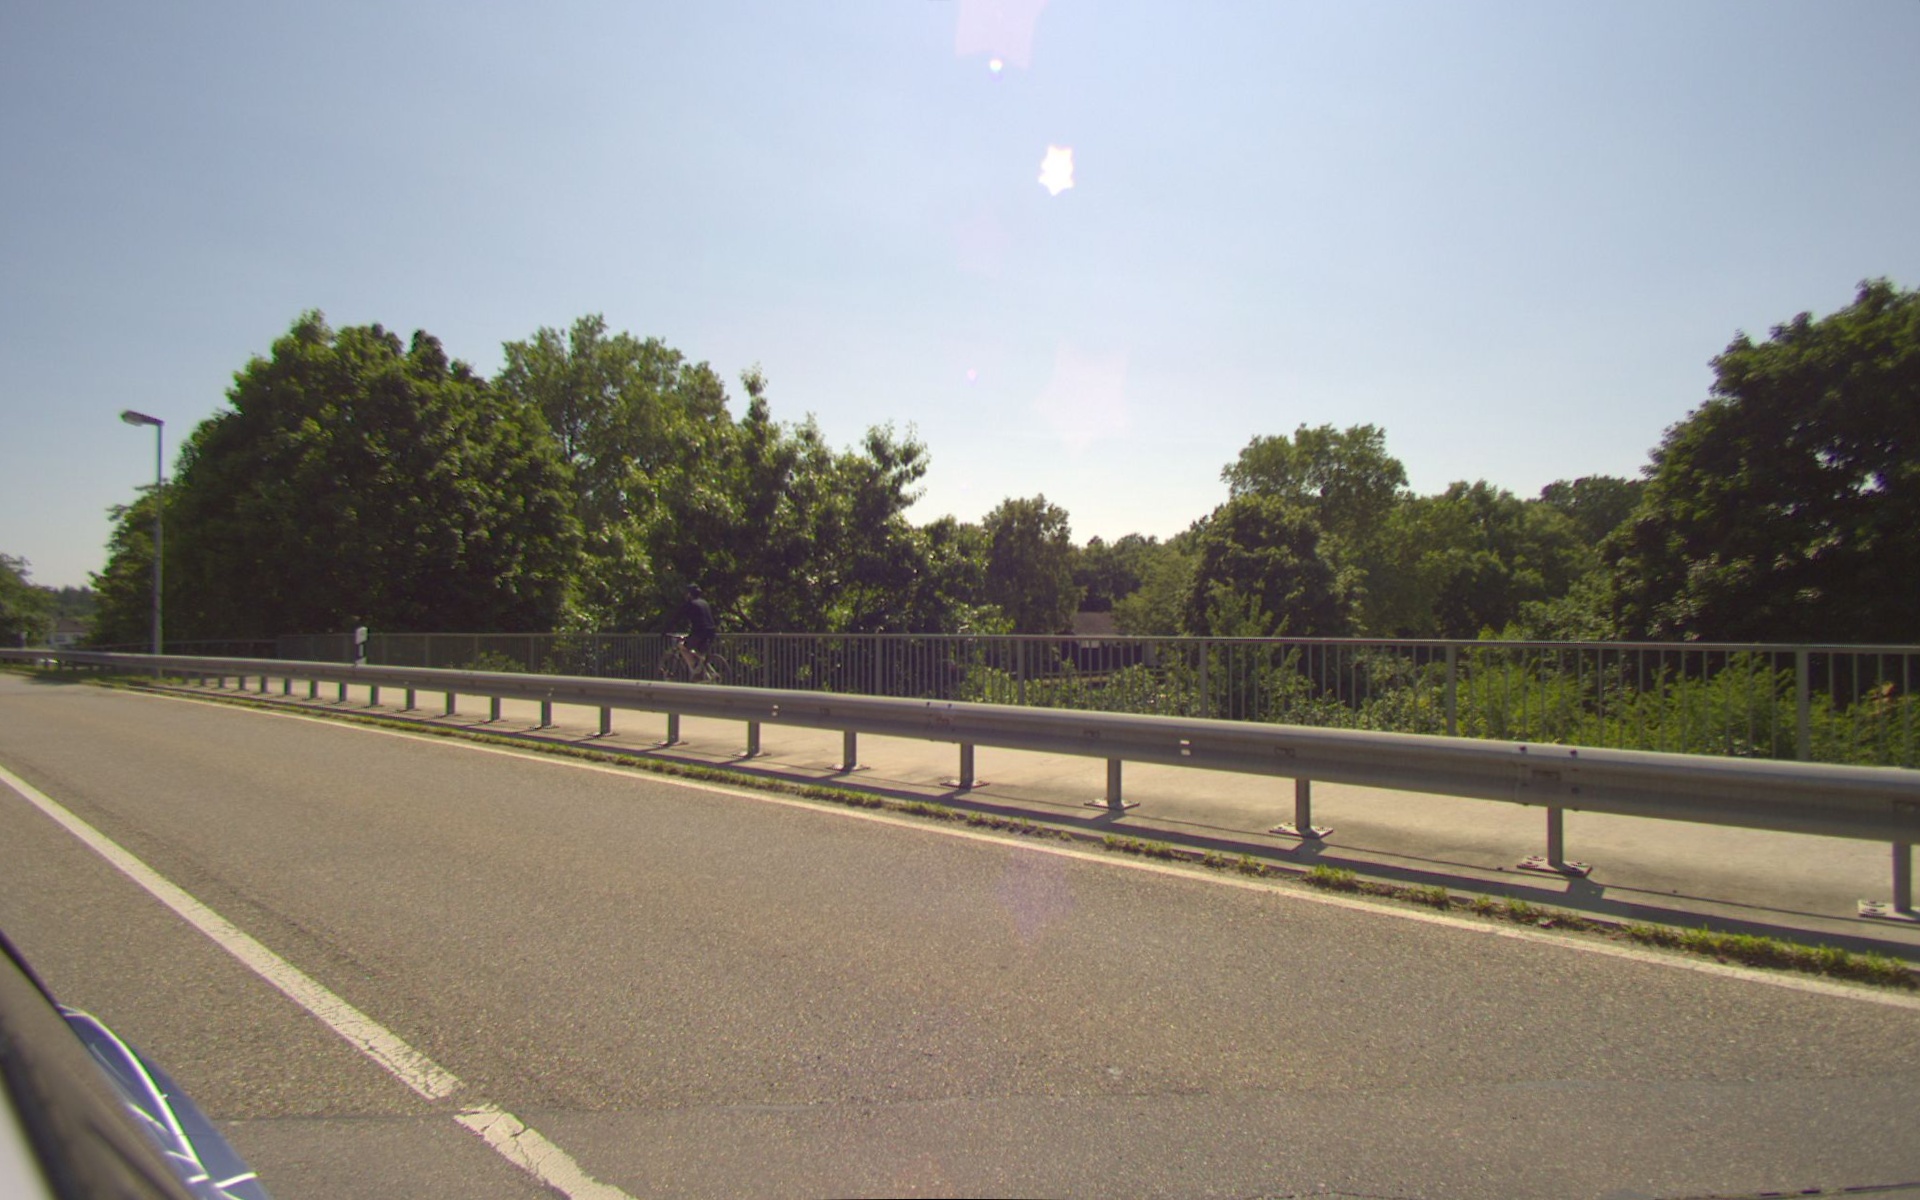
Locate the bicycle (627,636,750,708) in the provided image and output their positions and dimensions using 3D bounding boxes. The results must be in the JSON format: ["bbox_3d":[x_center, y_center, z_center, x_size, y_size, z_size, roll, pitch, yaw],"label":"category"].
[{"bbox_3d":[-4.128,1.060,15.300,2.116,1.009,0.671,-2,-2,38],"label":"bicycle"}]

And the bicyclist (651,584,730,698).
[{"bbox_3d":[-4.078,0.614,15.300,0.894,1.646,0.758,-2,-2,38],"label":"bicyclist"}]
